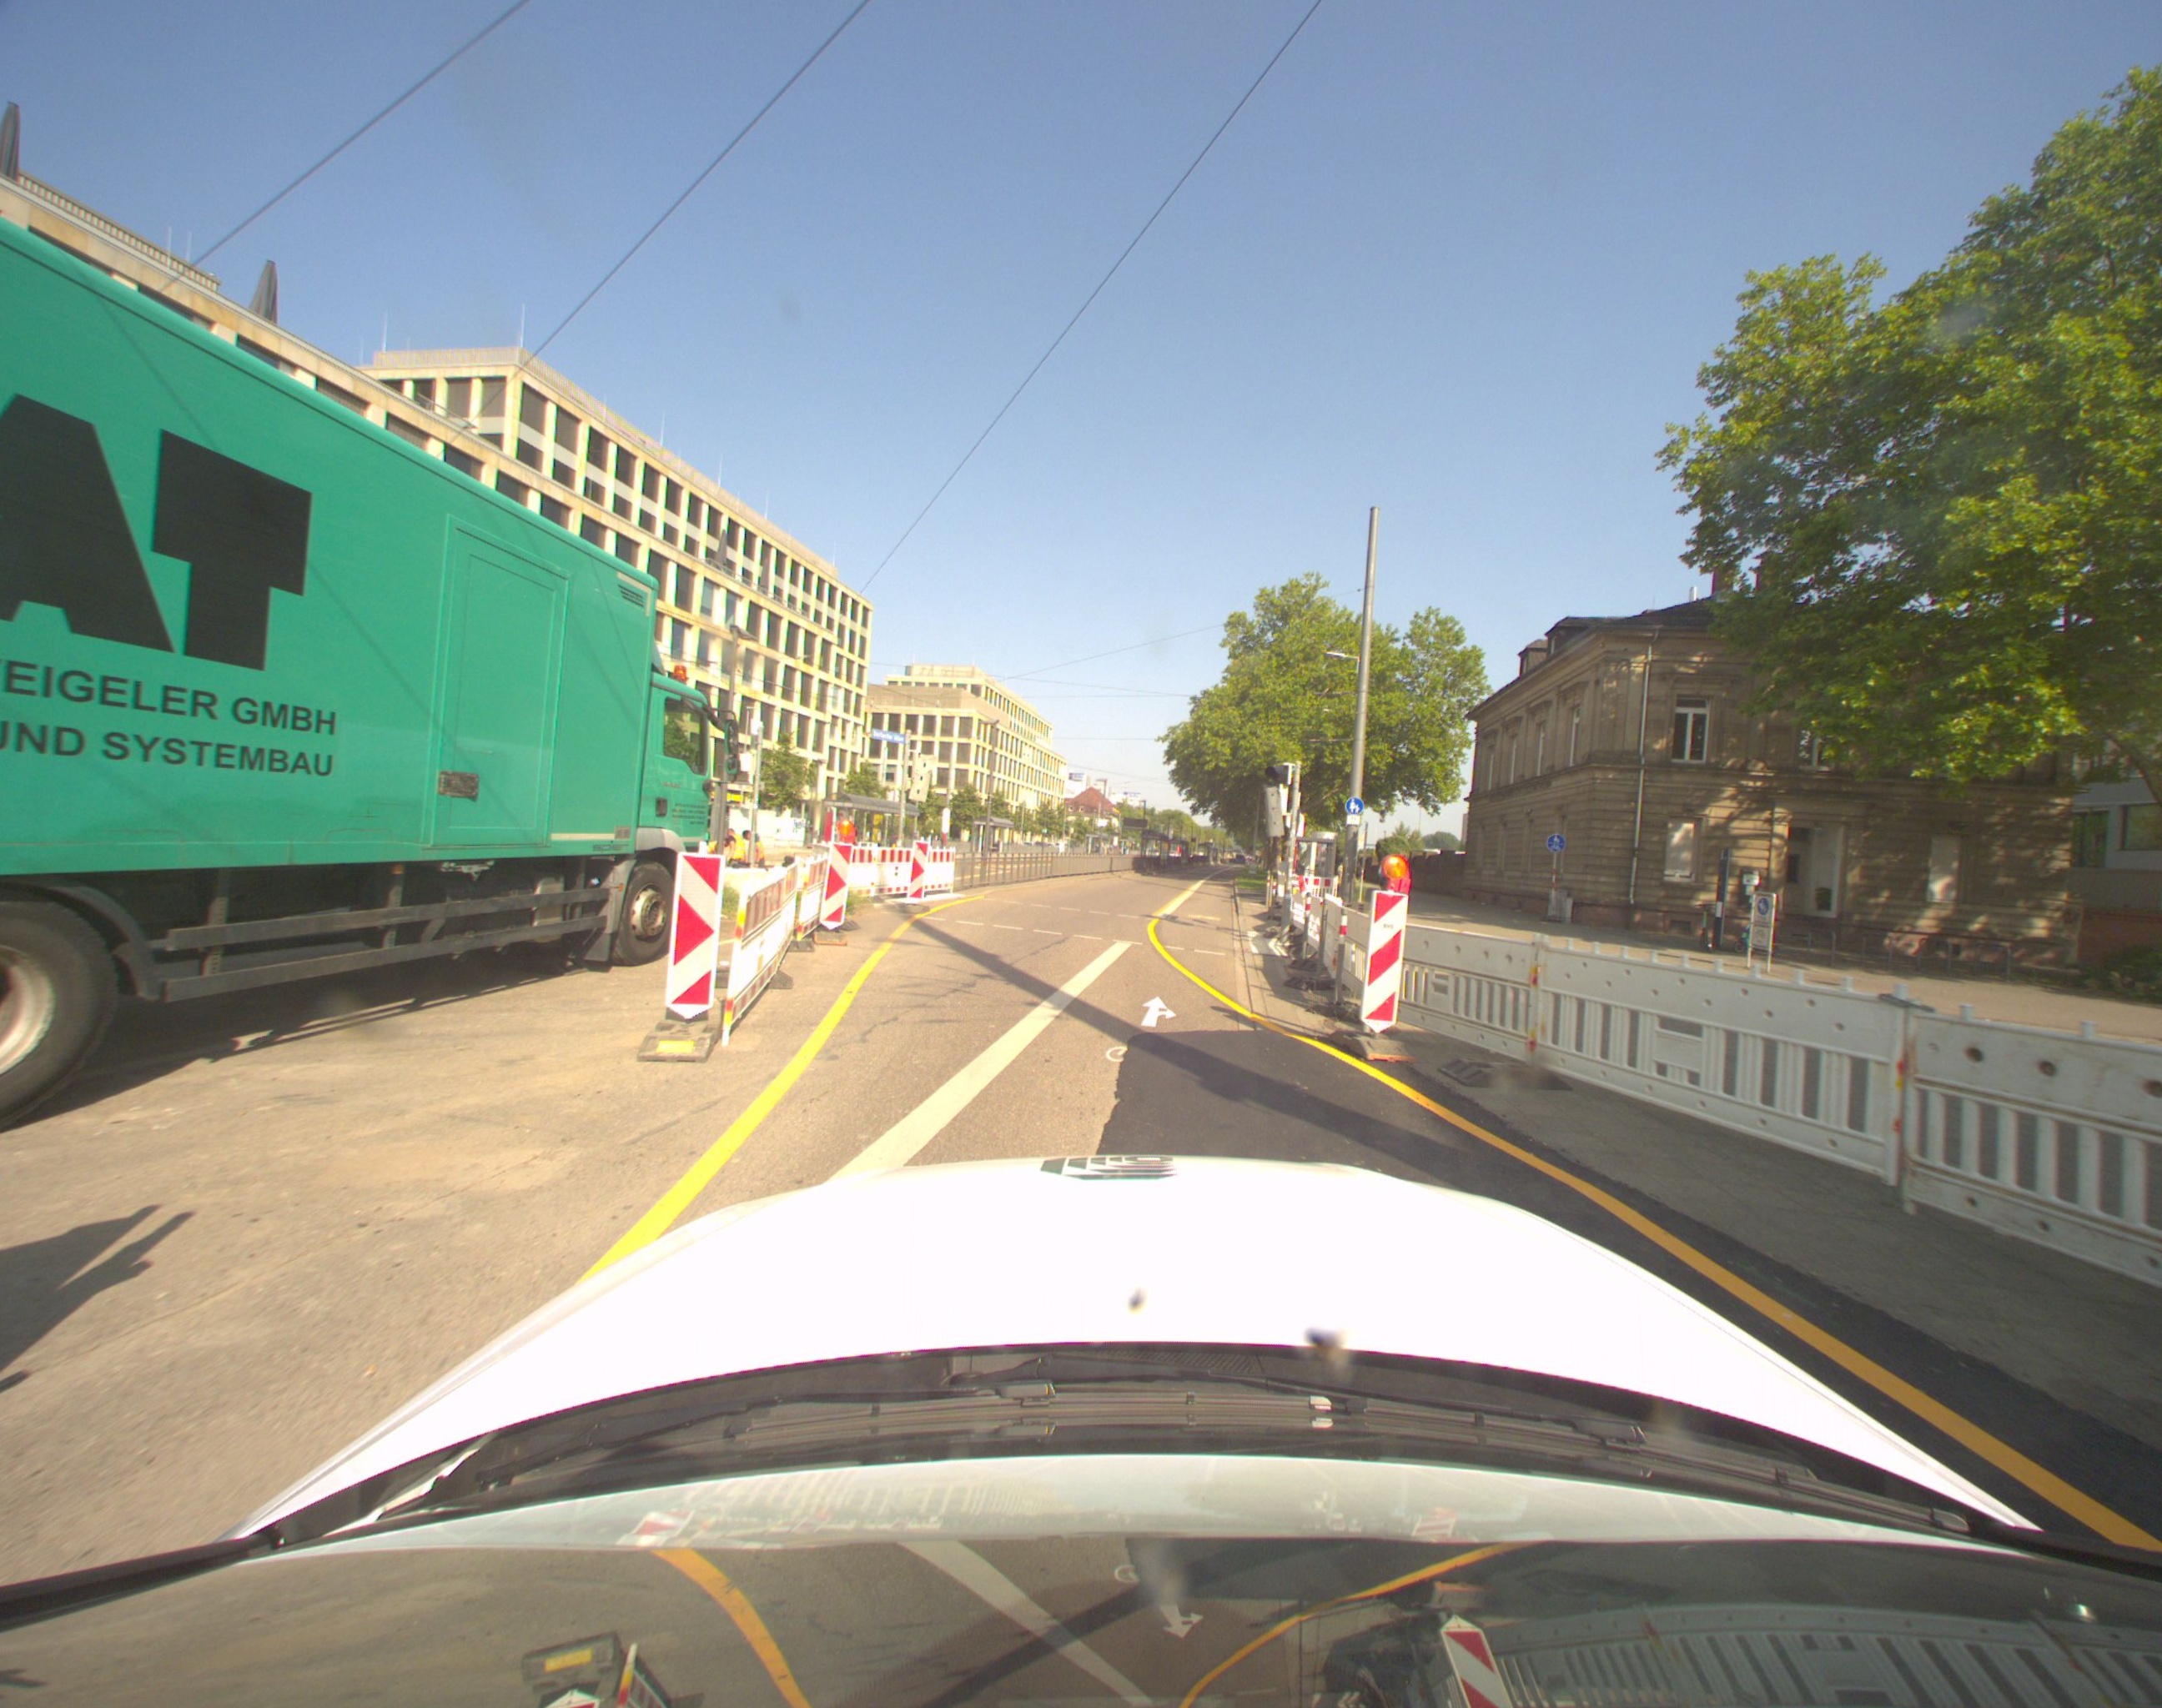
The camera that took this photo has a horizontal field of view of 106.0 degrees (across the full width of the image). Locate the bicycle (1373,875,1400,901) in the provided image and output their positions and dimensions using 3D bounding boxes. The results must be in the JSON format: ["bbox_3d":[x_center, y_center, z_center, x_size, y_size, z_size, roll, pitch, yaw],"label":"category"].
[{"bbox_3d":[13.667,1.498,36.495,0.713,1.041,1.908,4,1,9],"label":"bicycle"}]

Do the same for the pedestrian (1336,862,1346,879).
[{"bbox_3d":[25.754,1.605,80.717,0.801,1.604,0.950,3,0,12],"label":"pedestrian"}]

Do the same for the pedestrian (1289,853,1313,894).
[{"bbox_3d":[9.592,0.849,35.530,0.687,1.696,0.647,4,0,-10],"label":"pedestrian"}]

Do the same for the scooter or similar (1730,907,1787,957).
[{"bbox_3d":[17.808,2.052,21.395,1.252,1.209,0.421,3,2,-14],"label":"scooter or similar"}]

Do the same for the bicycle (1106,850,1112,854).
[{"bbox_3d":[4.408,-0.318,126.987,0.473,0.662,1.620,4,0,16],"label":"bicycle"}]

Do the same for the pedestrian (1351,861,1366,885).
[{"bbox_3d":[20.309,1.406,59.538,0.813,1.686,1.015,4,0,12],"label":"pedestrian"}]

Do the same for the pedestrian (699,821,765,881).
[{"bbox_3d":[-8.284,-0.071,19.314,1.299,1.306,0.803,5,1,35],"label":"pedestrian"}]

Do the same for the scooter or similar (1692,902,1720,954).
[{"bbox_3d":[16.257,1.910,21.205,0.417,1.209,1.263,5,2,34],"label":"scooter or similar"}]

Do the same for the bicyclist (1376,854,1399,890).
[{"bbox_3d":[13.720,0.780,36.487,0.713,1.543,0.958,4,1,9],"label":"bicyclist"}]

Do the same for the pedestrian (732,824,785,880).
[{"bbox_3d":[-7.936,-0.044,20.043,0.829,1.306,0.803,5,1,35],"label":"pedestrian"}]

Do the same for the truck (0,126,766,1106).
[{"bbox_3d":[-5.315,-0.972,5.343,2.663,3.677,8.221,4,1,3],"label":"truck"}]
